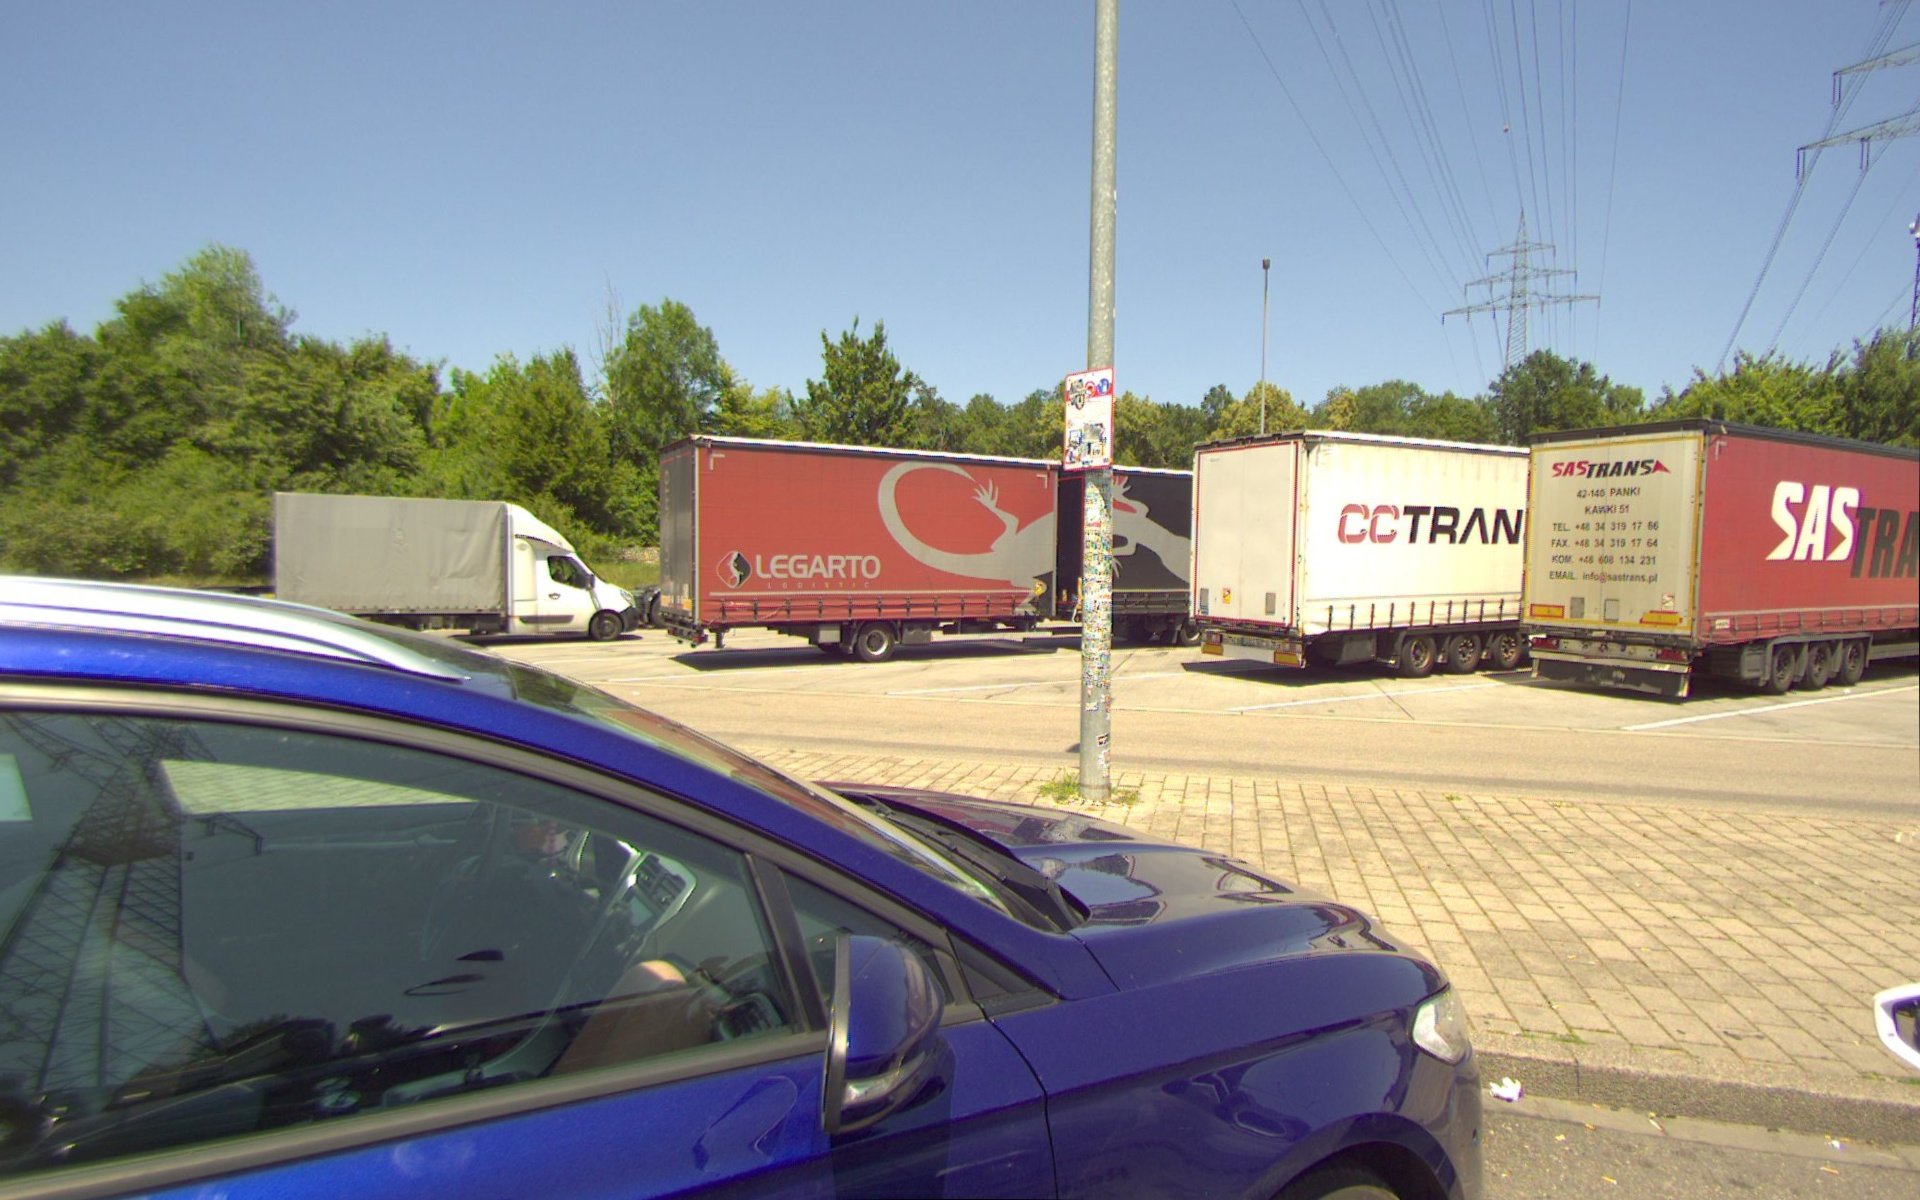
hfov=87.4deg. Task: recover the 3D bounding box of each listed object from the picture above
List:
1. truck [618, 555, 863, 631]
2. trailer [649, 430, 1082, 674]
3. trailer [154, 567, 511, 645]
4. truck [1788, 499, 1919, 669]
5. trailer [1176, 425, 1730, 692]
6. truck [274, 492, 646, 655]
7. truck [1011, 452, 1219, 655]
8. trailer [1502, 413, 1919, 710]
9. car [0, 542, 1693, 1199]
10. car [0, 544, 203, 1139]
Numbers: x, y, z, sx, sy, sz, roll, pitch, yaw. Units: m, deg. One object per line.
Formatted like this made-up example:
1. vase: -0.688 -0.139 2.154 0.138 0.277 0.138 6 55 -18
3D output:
1. truck: -6.328 -0.230 29.290 6.733 2.041 1.987 -1 1 -26
2. trailer: -1.723 -0.900 20.345 8.376 4.141 2.722 -1 3 -30
3. trailer: -15.145 0.057 24.908 7.204 1.711 2.249 -1 3 -29
4. truck: 21.229 -0.395 22.022 5.829 3.373 2.837 -1 3 -30
5. trailer: 10.607 -0.801 20.354 13.962 4.141 2.782 -1 3 -30
6. truck: -11.169 -0.624 23.039 7.204 3.279 2.727 -1 3 -29
7. truck: 3.589 -1.066 23.466 3.947 4.298 2.723 -1 3 -30
8. trailer: 15.627 -0.693 18.744 13.962 4.141 2.777 -1 3 -30
9. car: -1.013 0.681 1.510 4.444 1.511 1.859 0 2 -32
10. car: -4.590 0.604 2.242 4.444 1.520 1.762 0 2 -32
